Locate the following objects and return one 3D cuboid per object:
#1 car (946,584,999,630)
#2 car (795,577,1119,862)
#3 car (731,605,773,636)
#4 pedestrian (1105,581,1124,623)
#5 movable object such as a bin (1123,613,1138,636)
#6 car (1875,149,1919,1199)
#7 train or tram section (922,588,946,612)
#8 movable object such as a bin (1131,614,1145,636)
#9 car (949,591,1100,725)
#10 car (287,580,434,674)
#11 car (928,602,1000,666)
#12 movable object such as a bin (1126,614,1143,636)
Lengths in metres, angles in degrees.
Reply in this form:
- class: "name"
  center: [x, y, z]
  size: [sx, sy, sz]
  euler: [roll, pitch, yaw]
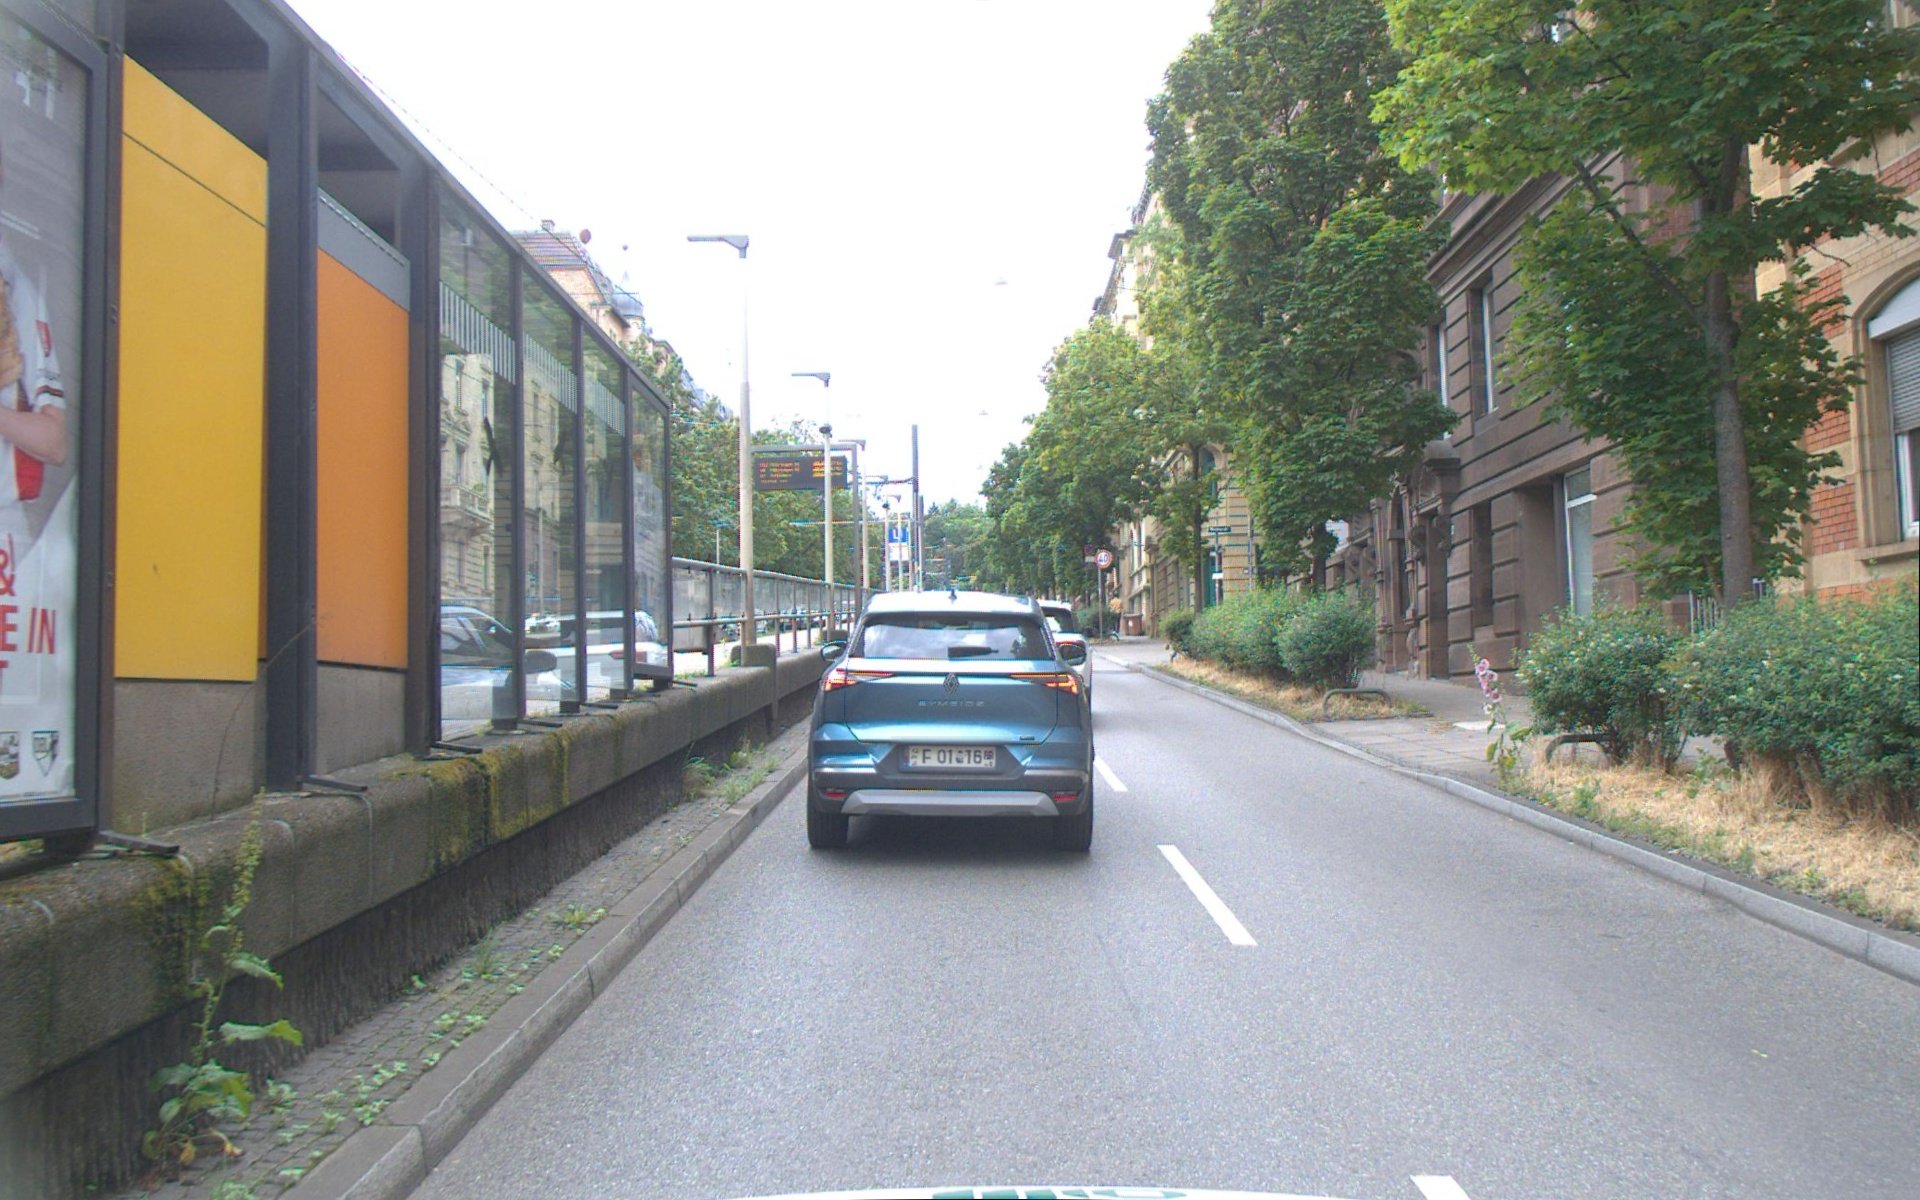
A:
- class: "car"
  center: [0.466, 0.266, 58.709]
  size: [1.798, 1.574, 4.193]
  euler: [1, -1, 1]
- class: "car"
  center: [0.015, 0.695, 11.389]
  size: [1.798, 1.574, 4.193]
  euler: [1, -1, 1]
- class: "car"
  center: [-11.952, 1.152, 95.251]
  size: [1.896, 1.709, 4.000]
  euler: [-2, 0, 0]
- class: "pedestrian"
  center: [6.933, 0.086, 74.173]
  size: [0.671, 1.861, 1.121]
  euler: [-2, -1, 0]
- class: "movable object such as a bin"
  center: [7.472, 1.074, 72.654]
  size: [0.599, 0.935, 0.493]
  euler: [-3, -1, 3]
- class: "car"
  center: [2.888, 0.341, 0.252]
  size: [2.211, 2.327, 5.967]
  euler: [0, 0, 0]
- class: "train or tram section"
  center: [-3.731, 0.011, 244.215]
  size: [2.934, 3.407, 13.440]
  euler: [-1, -1, 1]
- class: "movable object such as a bin"
  center: [7.687, 1.072, 71.408]
  size: [0.490, 0.935, 0.444]
  euler: [-1, 0, 20]
- class: "car"
  center: [0.911, 0.713, 21.891]
  size: [1.797, 1.574, 4.195]
  euler: [1, -1, 4]
- class: "car"
  center: [-16.123, 0.696, 44.824]
  size: [1.952, 2.345, 5.455]
  euler: [-1, 0, 0]
- class: "car"
  center: [0.133, 0.861, 43.399]
  size: [1.798, 1.574, 4.193]
  euler: [1, -1, 1]
- class: "movable object such as a bin"
  center: [7.590, 1.075, 72.063]
  size: [0.497, 0.935, 0.486]
  euler: [-2, -1, -41]
